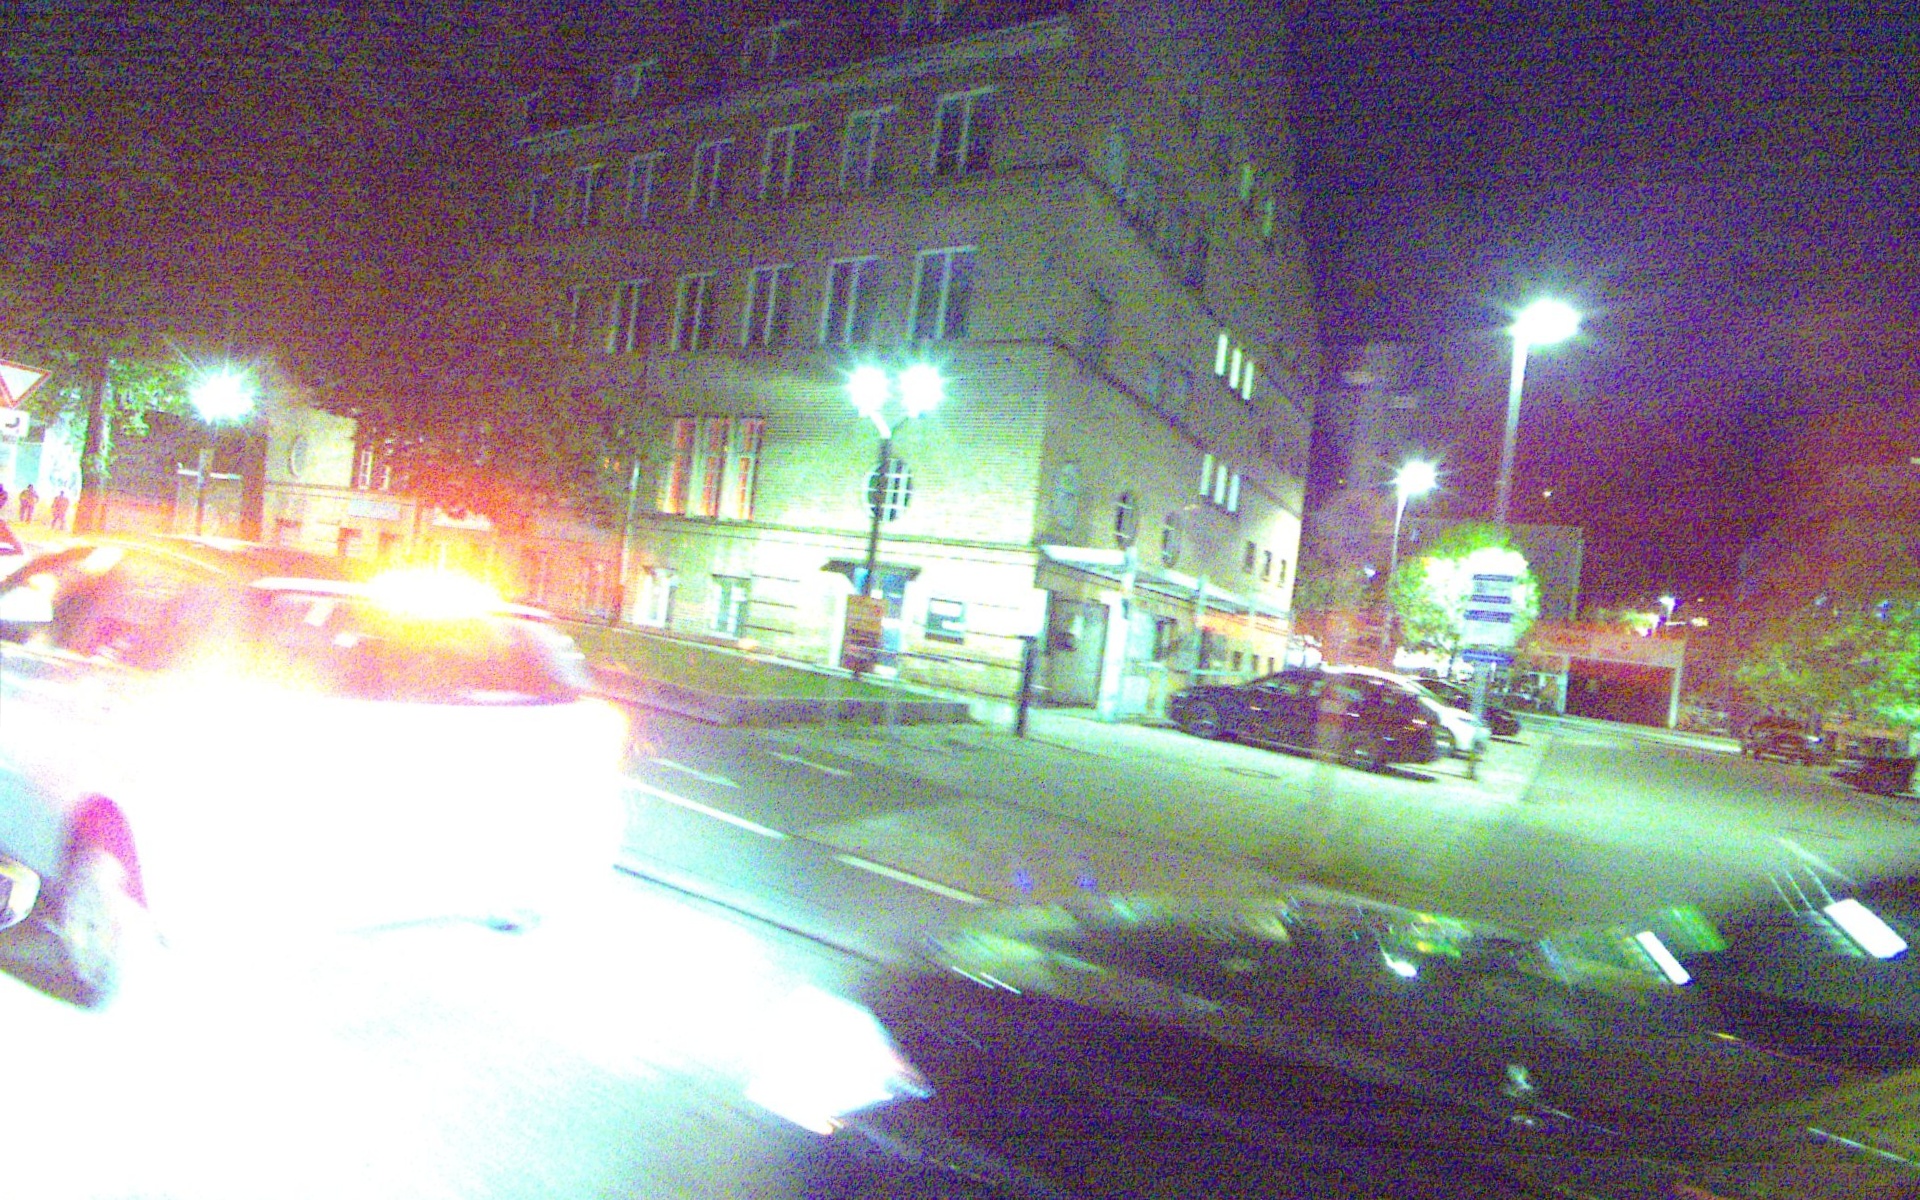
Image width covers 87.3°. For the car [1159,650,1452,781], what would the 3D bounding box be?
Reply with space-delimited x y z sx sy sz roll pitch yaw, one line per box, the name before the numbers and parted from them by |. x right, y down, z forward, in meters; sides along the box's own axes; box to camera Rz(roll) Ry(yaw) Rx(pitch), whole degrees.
car | 5.865 1.902 17.311 4.409 1.412 1.514 8 0 33

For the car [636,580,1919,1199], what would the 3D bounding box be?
car | 1.857 1.052 1.422 4.652 1.510 1.809 7 -3 33

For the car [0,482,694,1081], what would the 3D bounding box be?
car | -3.256 0.405 4.393 3.934 1.511 1.641 7 -2 32

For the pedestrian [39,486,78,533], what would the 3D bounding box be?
pedestrian | -37.863 -3.804 42.260 0.892 1.791 0.902 7 1 32

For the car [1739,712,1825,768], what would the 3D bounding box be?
car | 33.381 5.631 40.980 2.046 1.786 4.542 7 -1 33

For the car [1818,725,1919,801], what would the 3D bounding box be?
car | 24.242 4.213 24.391 4.810 1.531 1.892 7 0 31

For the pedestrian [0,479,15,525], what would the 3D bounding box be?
pedestrian | -38.714 -3.974 40.449 0.892 1.791 0.715 7 1 32

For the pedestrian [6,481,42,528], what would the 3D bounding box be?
pedestrian | -38.414 -3.913 41.290 0.892 1.791 0.739 7 1 32

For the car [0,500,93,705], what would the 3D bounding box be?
car | -8.840 -0.250 7.896 4.140 1.451 1.734 7 -2 31

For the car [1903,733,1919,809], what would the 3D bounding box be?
car | 21.985 3.825 20.197 4.031 1.552 1.771 7 0 32

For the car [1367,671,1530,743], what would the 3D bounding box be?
car | 14.759 3.197 30.449 4.170 1.445 1.997 7 -1 31

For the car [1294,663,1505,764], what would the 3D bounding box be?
car | 9.745 2.466 22.370 3.935 1.552 1.784 7 0 33
